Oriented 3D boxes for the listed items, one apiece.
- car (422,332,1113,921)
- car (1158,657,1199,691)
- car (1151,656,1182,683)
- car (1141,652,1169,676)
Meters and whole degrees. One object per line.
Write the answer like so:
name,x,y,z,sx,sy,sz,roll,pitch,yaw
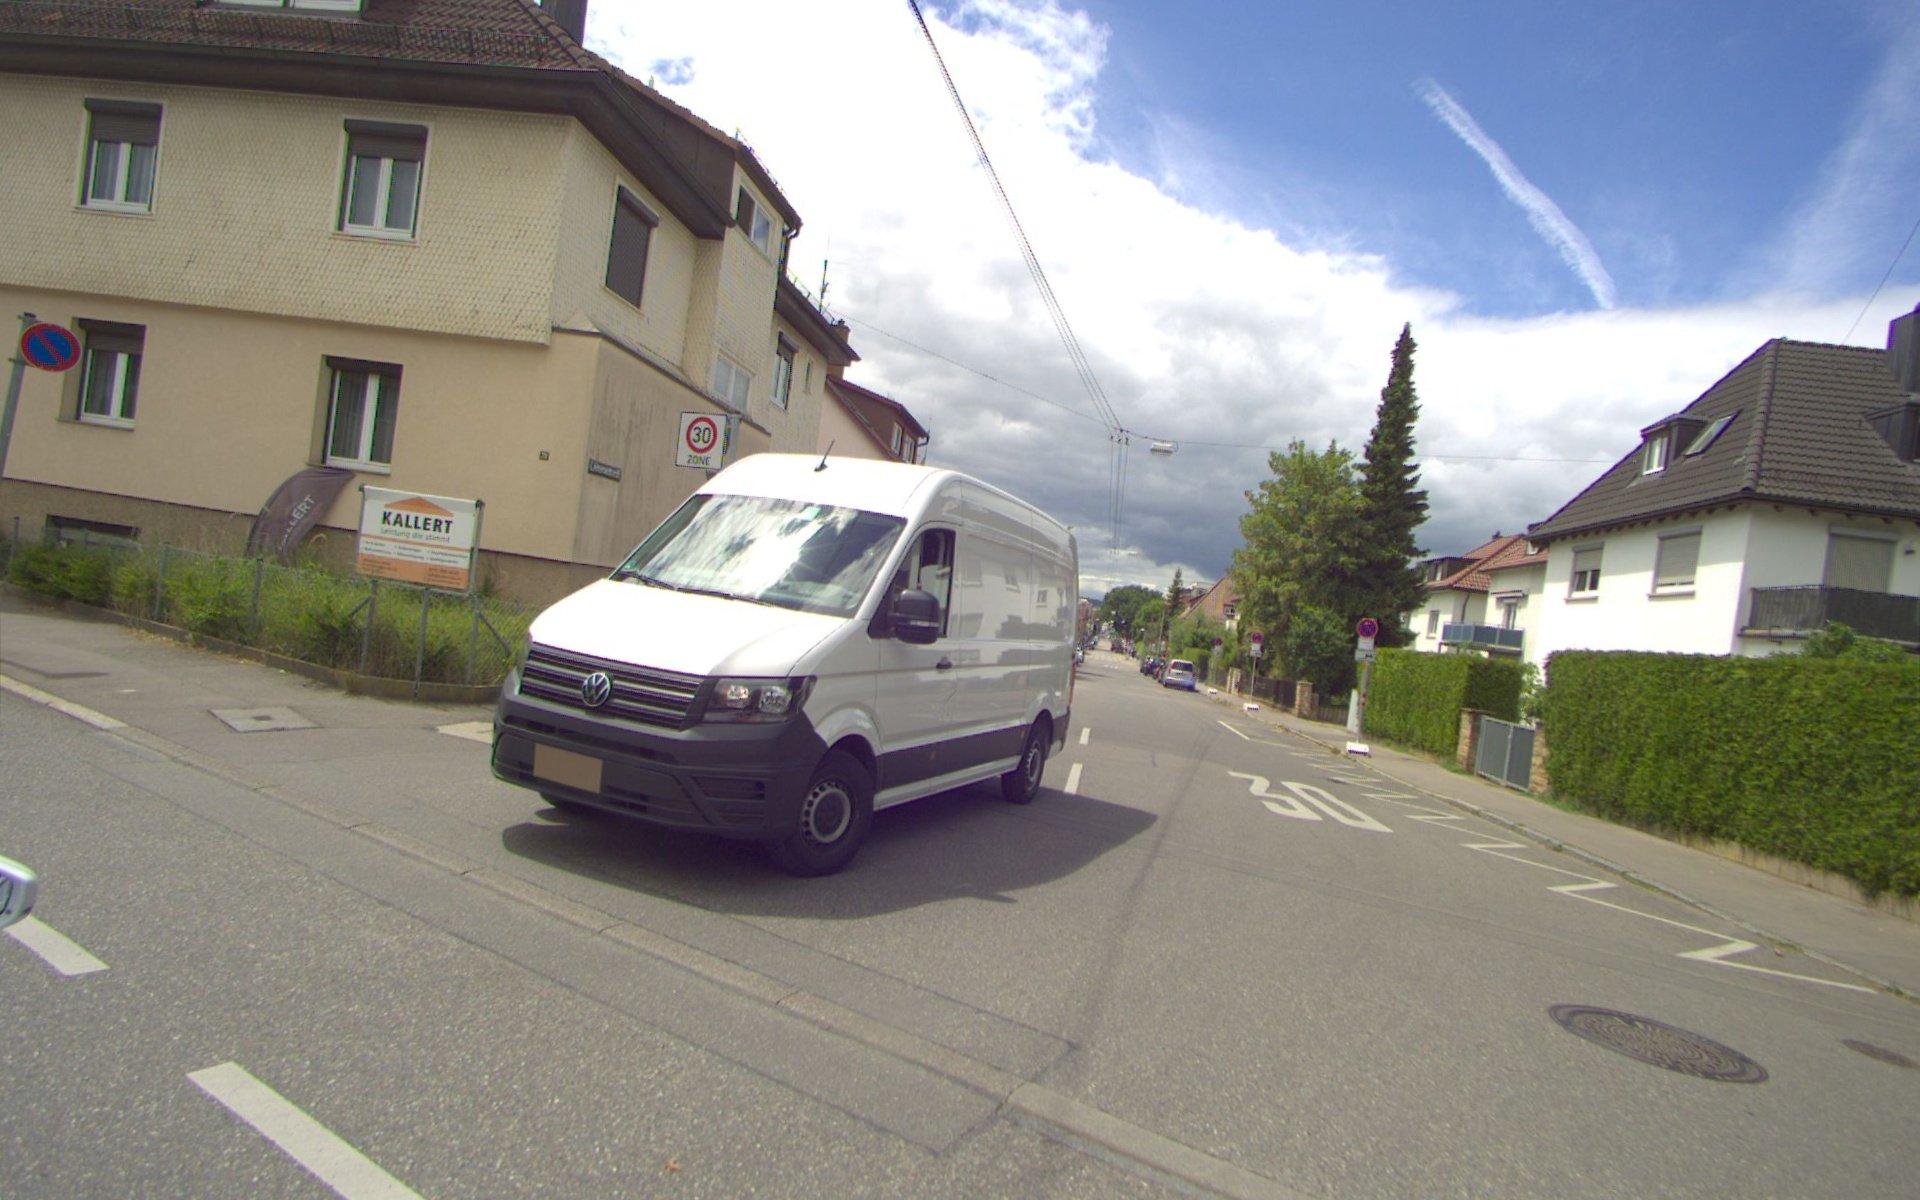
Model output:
car,-0.646,0.216,7.686,1.963,2.612,6.015,8,0,22
car,12.174,4.096,56.181,1.672,1.561,4.004,7,-2,7
car,14.435,4.857,70.467,1.672,1.561,4.004,7,-2,7
car,15.306,5.005,79.106,1.672,1.561,4.004,7,-2,7
